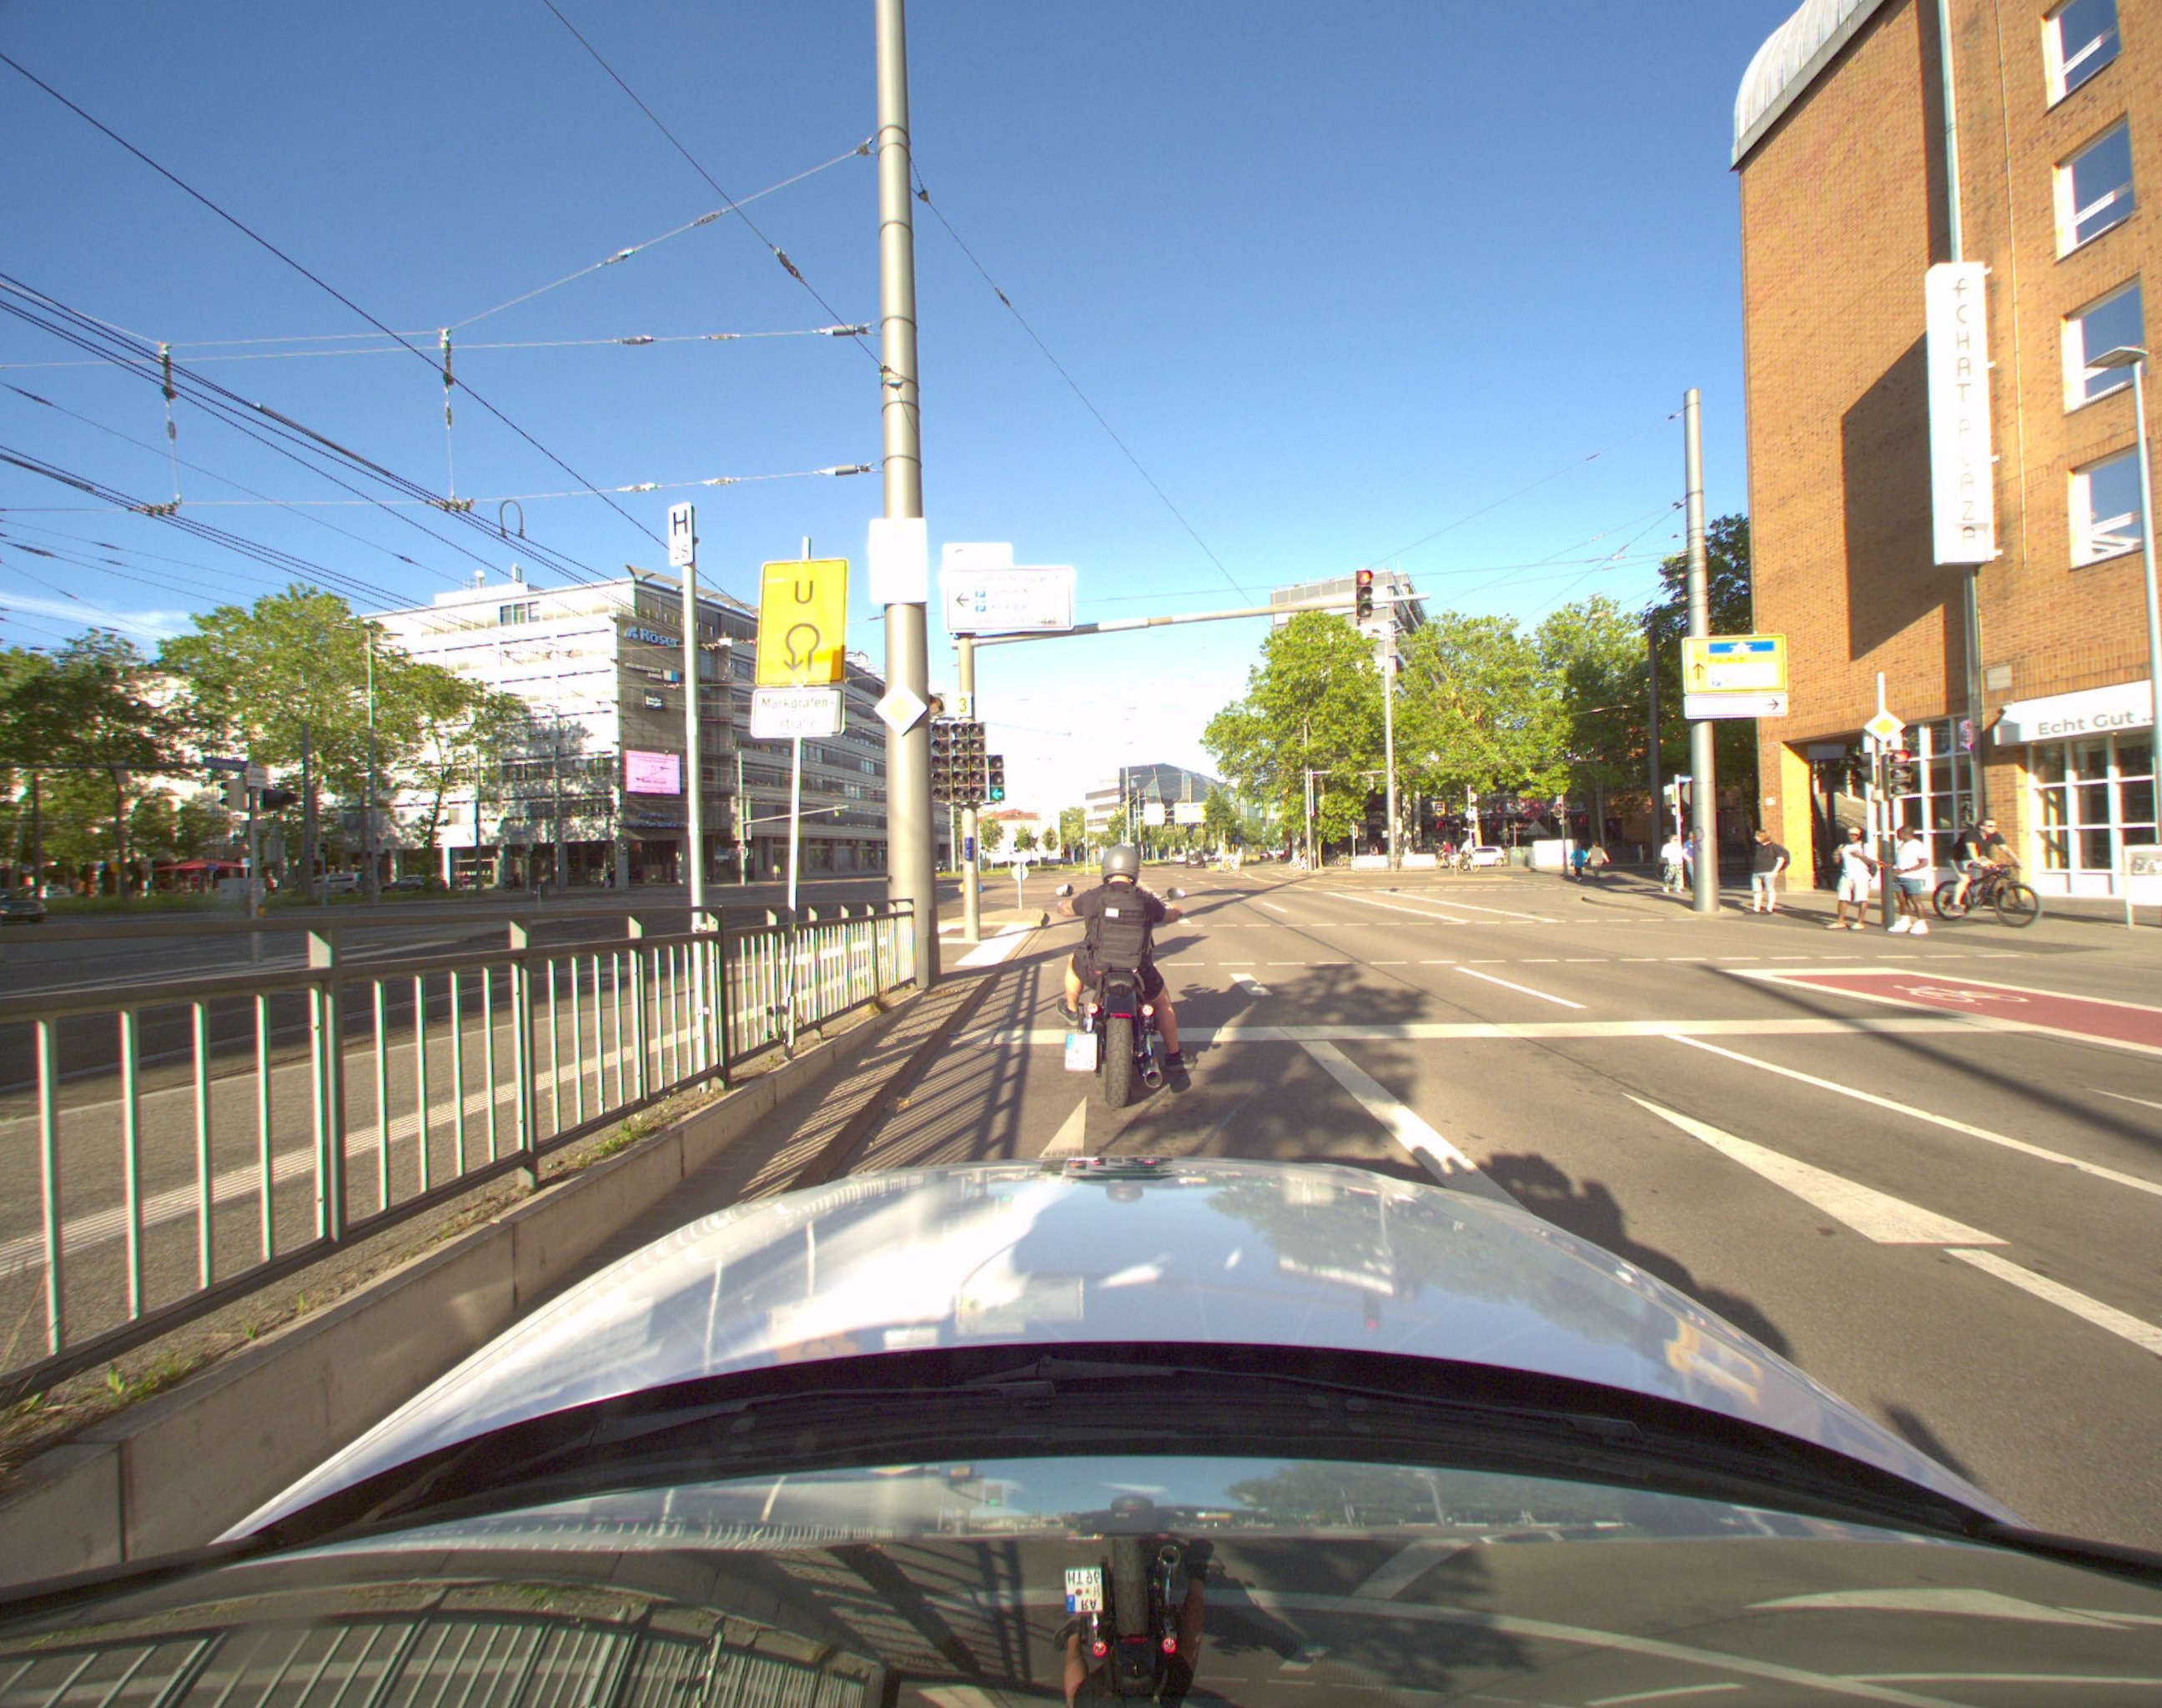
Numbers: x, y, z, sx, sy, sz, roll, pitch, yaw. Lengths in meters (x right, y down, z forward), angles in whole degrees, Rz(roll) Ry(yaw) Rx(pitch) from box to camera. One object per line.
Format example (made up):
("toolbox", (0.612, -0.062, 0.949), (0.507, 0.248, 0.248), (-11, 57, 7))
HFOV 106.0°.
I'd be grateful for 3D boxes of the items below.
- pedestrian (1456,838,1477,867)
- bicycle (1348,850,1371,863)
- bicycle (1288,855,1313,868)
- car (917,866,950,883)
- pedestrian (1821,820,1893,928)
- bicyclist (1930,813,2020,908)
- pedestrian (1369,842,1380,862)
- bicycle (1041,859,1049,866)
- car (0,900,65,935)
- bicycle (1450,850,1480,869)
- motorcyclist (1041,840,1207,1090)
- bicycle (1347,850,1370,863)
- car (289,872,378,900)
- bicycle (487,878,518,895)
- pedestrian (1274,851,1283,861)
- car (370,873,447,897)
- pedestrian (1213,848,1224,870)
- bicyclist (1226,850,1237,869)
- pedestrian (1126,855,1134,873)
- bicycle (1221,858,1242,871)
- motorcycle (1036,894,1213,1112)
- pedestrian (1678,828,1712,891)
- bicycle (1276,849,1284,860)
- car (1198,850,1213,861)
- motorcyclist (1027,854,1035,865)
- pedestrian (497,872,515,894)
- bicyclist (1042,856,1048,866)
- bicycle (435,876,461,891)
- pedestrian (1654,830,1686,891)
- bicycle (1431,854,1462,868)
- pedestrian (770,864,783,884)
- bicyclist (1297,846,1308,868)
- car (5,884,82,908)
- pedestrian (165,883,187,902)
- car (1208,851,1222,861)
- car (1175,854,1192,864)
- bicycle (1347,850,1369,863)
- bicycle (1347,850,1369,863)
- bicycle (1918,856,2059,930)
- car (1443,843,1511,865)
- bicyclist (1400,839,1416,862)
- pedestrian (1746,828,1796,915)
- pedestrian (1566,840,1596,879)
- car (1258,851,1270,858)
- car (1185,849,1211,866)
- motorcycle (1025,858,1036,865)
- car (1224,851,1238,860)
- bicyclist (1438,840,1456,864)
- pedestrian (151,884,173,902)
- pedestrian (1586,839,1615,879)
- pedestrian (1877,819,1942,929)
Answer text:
("pedestrian", (21.497, -0.103, 45.471), (0.767, 1.594, 0.838), (0, -1, 1))
("bicycle", (22.307, 0.193, 65.179), (1.692, 0.986, 0.392), (-2, 0, 15))
("bicycle", (17.478, 0.598, 64.884), (1.840, 1.021, 0.518), (-2, -1, 13))
("car", (-14.240, 1.945, 79.081), (1.781, 1.465, 4.322), (-2, 0, 9))
("pedestrian", (13.601, 0.345, 14.277), (0.500, 1.833, 0.725), (-3, -1, -33))
("bicyclist", (15.085, 0.094, 13.761), (0.574, 1.515, 0.854), (-6, 1, 16))
("pedestrian", (26.673, -0.196, 74.070), (0.840, 1.852, 0.813), (1, 0, 16))
("bicycle", (-6.357, 1.471, 144.159), (0.637, 1.107, 1.693), (-1, 0, 20))
("car", (-44.679, 2.612, 33.508), (3.599, 1.328, 1.655), (0, -1, -1))
("bicycle", (21.463, 0.311, 45.555), (0.786, 1.052, 1.924), (0, -1, 2))
("motorcyclist", (0.288, 0.692, 5.727), (1.018, 1.552, 1.287), (0, 0, 1))
("bicycle", (22.503, 0.229, 66.020), (1.692, 0.986, 0.392), (-2, 0, 15))
("car", (-56.223, 2.412, 61.309), (4.888, 1.843, 1.930), (-2, 2, 3))
("bicycle", (-43.770, 2.447, 61.611), (1.834, 1.163, 0.613), (-1, 3, 3))
("pedestrian", (21.938, 0.233, 90.333), (0.777, 1.057, 0.819), (-2, 0, 24))
("car", (-50.632, 2.346, 61.340), (4.378, 1.572, 1.869), (-2, 2, 6))
("pedestrian", (11.701, 0.441, 69.293), (0.693, 1.837, 0.518), (-1, -1, 37))
("bicyclist", (12.401, 0.444, 67.024), (0.736, 1.503, 0.573), (-2, -1, 25))
("pedestrian", (4.159, 0.845, 69.133), (0.654, 1.582, 0.490), (-1, 0, 5))
("bicycle", (12.388, 0.859, 67.020), (1.612, 1.021, 0.519), (-2, -1, 25))
("motorcycle", (0.286, 0.911, 5.819), (1.002, 1.125, 2.324), (0, 0, 2))
("pedestrian", (17.099, 0.157, 22.697), (0.597, 1.727, 0.605), (-1, -1, 20))
("bicycle", (27.474, 0.037, 112.265), (0.853, 1.481, 2.588), (-2, 0, 17))
("car", (21.634, 0.309, 141.212), (1.804, 1.818, 3.964), (-2, 0, 20))
("motorcyclist", (-8.290, 0.876, 135.344), (1.012, 1.731, 1.466), (-2, 0, 13))
("pedestrian", (-43.707, 2.204, 61.913), (0.831, 1.610, 0.607), (0, 3, 5))
("bicyclist", (-6.338, 1.213, 144.136), (0.757, 1.667, 0.998), (-1, 0, 19))
("bicycle", (-51.185, 2.365, 65.855), (0.466, 1.151, 1.843), (-1, 1, 9))
("pedestrian", (16.540, 0.186, 22.882), (0.556, 1.704, 0.662), (-1, -1, 19))
("bicycle", (25.164, 0.463, 56.127), (1.844, 0.910, 0.653), (-2, 0, 6))
("pedestrian", (-28.333, 1.863, 75.674), (0.670, 1.823, 0.889), (-3, -1, 15))
("bicyclist", (17.640, 0.248, 64.829), (0.737, 1.694, 0.572), (-2, -1, 13))
("car", (-79.734, 3.212, 62.606), (3.835, 1.638, 1.869), (-2, 0, 6))
("pedestrian", (-80.600, 3.426, 72.523), (0.986, 1.546, 0.874), (-2, -1, 6))
("car", (24.447, 0.301, 148.306), (1.705, 1.657, 3.774), (-2, 0, 22))
("car", (15.604, 0.800, 123.956), (1.886, 1.508, 4.019), (-1, -1, 18))
("bicycle", (22.756, 0.193, 66.925), (1.692, 0.986, 0.392), (-2, 0, 15))
("bicycle", (22.898, 0.185, 67.383), (1.692, 0.986, 0.392), (-2, 0, 15))
("bicycle", (15.107, 0.611, 13.634), (0.596, 1.050, 1.890), (-6, 0, 16))
("car", (28.106, 0.011, 57.912), (3.967, 1.486, 2.003), (0, -1, 6))
("bicyclist", (28.886, -0.297, 71.939), (1.217, 1.931, 0.838), (-1, 0, 15))
("pedestrian", (14.329, 0.352, 16.903), (0.577, 1.767, 0.687), (-1, 1, -39))
("pedestrian", (19.653, 0.213, 32.024), (0.674, 1.540, 0.741), (0, -1, -6))
("car", (37.634, 0.129, 167.155), (1.826, 1.464, 4.021), (-1, -1, 21))
("car", (12.814, 0.402, 88.901), (2.036, 1.874, 4.247), (-1, -1, 20))
("motorcycle", (-8.318, 1.254, 135.265), (0.976, 1.232, 2.953), (-2, 0, 13))
("car", (28.989, 0.290, 157.394), (1.705, 1.484, 3.775), (-2, 0, 24))
("bicyclist", (25.193, -0.120, 56.100), (0.921, 1.615, 0.638), (-2, 0, 5))
("pedestrian", (-81.920, 3.436, 72.606), (0.985, 1.546, 0.875), (-2, -1, 9))
("pedestrian", (20.509, 0.196, 32.170), (0.649, 1.540, 0.741), (0, -1, -6))
("pedestrian", (13.746, 0.329, 13.519), (0.401, 1.774, 0.580), (-3, -1, 9))
